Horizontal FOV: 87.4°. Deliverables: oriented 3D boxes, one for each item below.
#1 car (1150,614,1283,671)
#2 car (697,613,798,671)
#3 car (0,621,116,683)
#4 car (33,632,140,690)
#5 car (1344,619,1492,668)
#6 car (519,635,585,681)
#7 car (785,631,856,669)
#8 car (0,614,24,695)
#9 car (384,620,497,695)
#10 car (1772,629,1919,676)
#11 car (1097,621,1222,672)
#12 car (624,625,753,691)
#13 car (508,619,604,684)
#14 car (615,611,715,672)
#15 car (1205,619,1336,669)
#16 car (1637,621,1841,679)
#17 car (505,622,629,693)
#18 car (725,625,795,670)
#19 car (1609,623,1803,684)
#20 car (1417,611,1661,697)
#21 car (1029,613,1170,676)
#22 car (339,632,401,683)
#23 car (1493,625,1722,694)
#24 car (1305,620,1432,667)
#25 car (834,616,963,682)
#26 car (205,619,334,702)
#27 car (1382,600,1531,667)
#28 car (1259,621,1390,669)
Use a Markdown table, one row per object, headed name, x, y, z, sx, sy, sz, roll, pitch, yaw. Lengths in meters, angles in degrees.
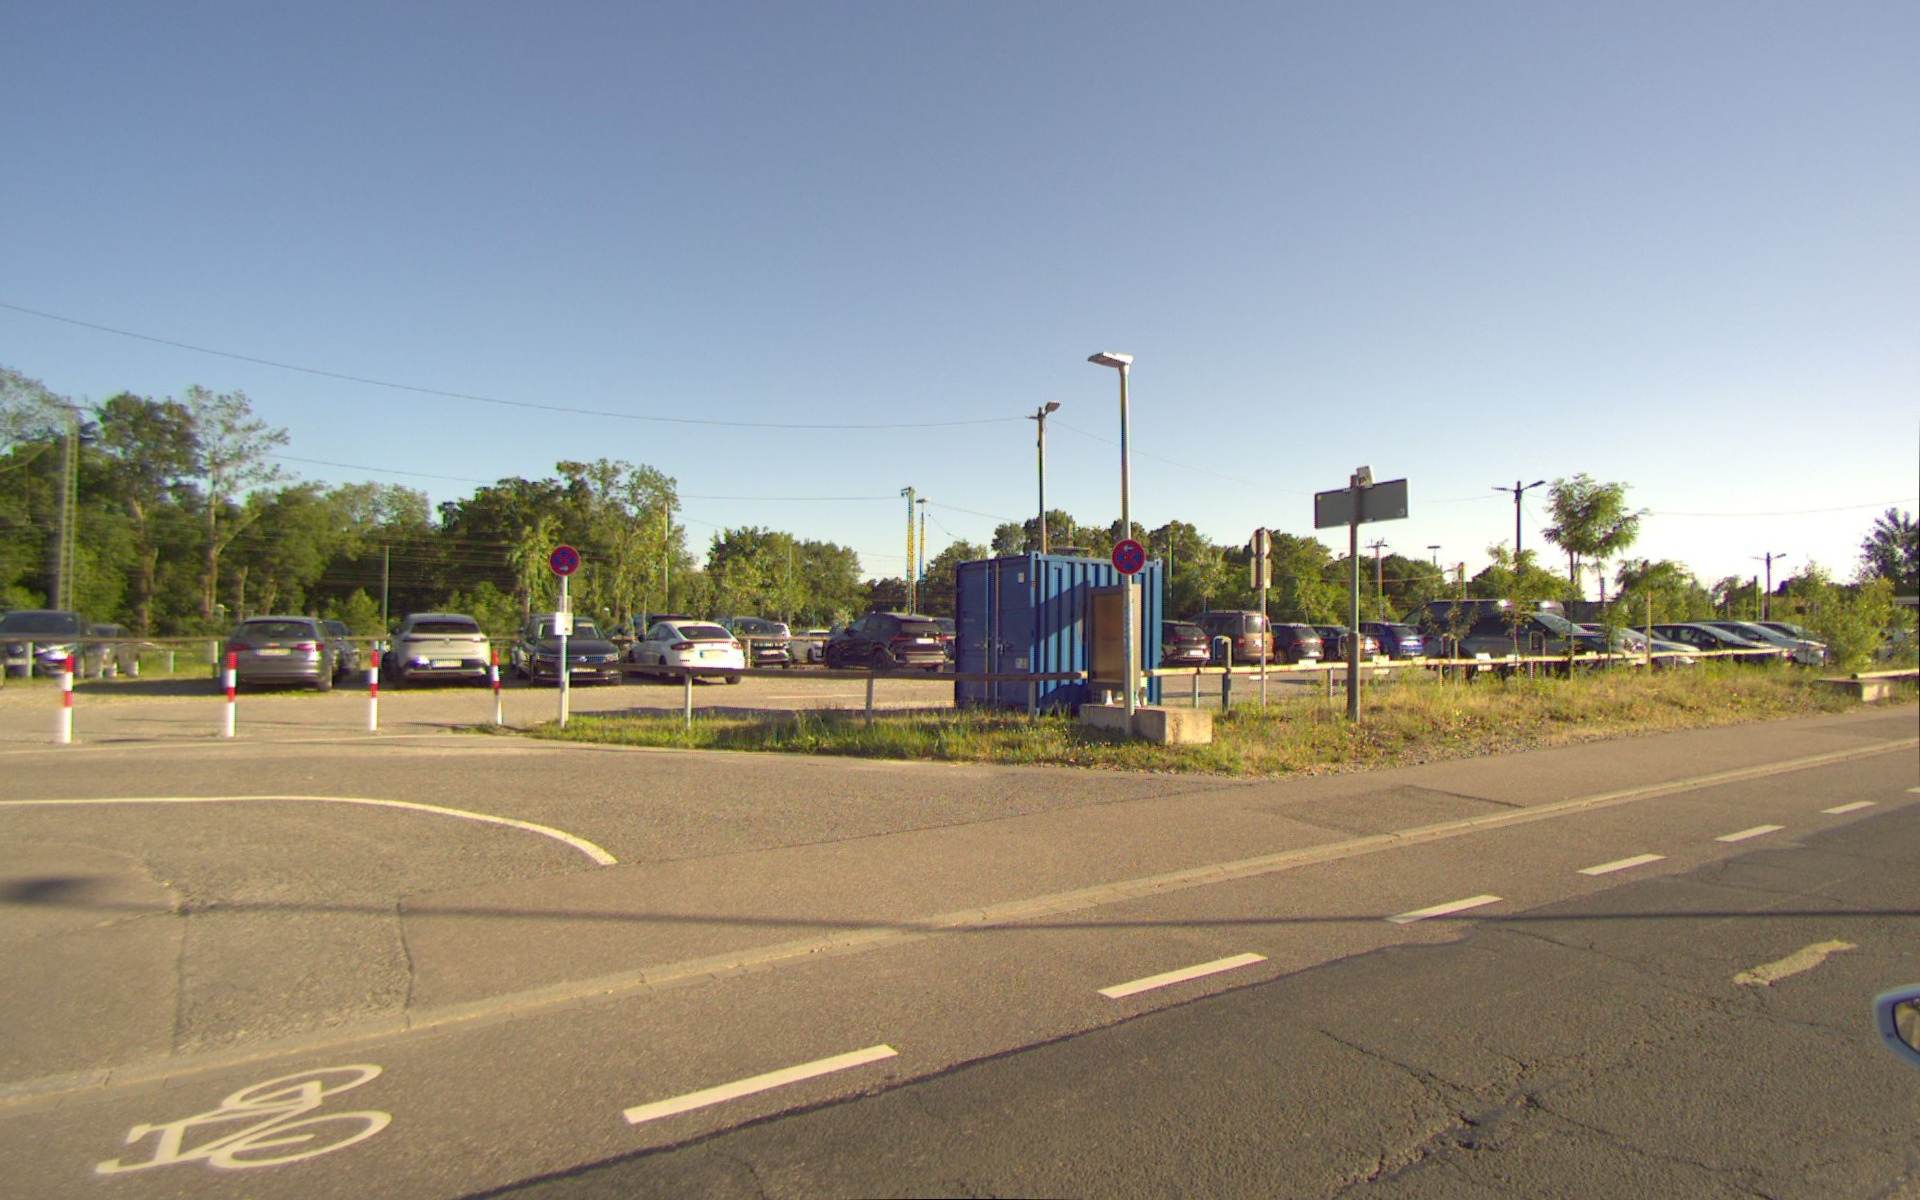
| name | x | y | z | sx | sy | sz | roll | pitch | yaw |
| --- | --- | --- | --- | --- | --- | --- | --- | --- | --- |
| car | 8.607 | 1.387 | 34.032 | 1.857 | 1.815 | 4.299 | 1 | -1 | -32 |
| car | -6.436 | 1.208 | 30.202 | 1.787 | 1.625 | 3.862 | 1 | -1 | -32 |
| car | -19.774 | 1.063 | 21.613 | 1.857 | 1.203 | 3.863 | 1 | -1 | -31 |
| car | -26.067 | 1.760 | 30.108 | 1.734 | 1.574 | 3.814 | 1 | -1 | -31 |
| car | 17.615 | 1.627 | 38.896 | 2.143 | 1.727 | 4.900 | 1 | -1 | -32 |
| car | -15.125 | 2.097 | 37.124 | 1.734 | 1.574 | 3.703 | 1 | -1 | -31 |
| car | -6.061 | 2.105 | 43.392 | 1.734 | 1.514 | 3.703 | 1 | -1 | -31 |
| car | -17.924 | 0.971 | 17.184 | 1.856 | 1.482 | 4.301 | 1 | -1 | -30 |
| car | -11.315 | 1.166 | 21.730 | 1.857 | 1.438 | 4.299 | 1 | -1 | -32 |
| car | 32.540 | 1.864 | 36.490 | 1.857 | 1.578 | 4.402 | 1 | -1 | -32 |
| car | 6.414 | 1.466 | 32.623 | 1.857 | 1.540 | 3.862 | 1 | -1 | -32 |
| car | -6.575 | 1.317 | 24.005 | 1.857 | 1.394 | 4.299 | 1 | -1 | -32 |
| car | -11.083 | 1.347 | 27.388 | 1.857 | 1.625 | 3.863 | 1 | -1 | -31 |
| car | -8.536 | 1.135 | 28.891 | 1.857 | 1.625 | 3.863 | 1 | -1 | -31 |
| car | 10.880 | 1.491 | 35.494 | 1.857 | 1.639 | 4.299 | 1 | -1 | -32 |
| car | 23.282 | 1.435 | 30.223 | 1.857 | 1.578 | 4.518 | 1 | -1 | -32 |
| car | -8.870 | 1.209 | 22.460 | 1.857 | 1.394 | 4.299 | 1 | -1 | -32 |
| car | -8.389 | 1.942 | 42.022 | 1.734 | 1.794 | 3.703 | 1 | -1 | -31 |
| car | 21.061 | 1.459 | 28.528 | 1.857 | 1.578 | 4.066 | 1 | -1 | -32 |
| car | 13.872 | 1.214 | 24.384 | 1.978 | 1.859 | 4.819 | 1 | -1 | -32 |
| car | 4.127 | 1.282 | 30.541 | 2.032 | 1.764 | 4.563 | 1 | -1 | -27 |
| car | -20.176 | 1.911 | 34.374 | 1.734 | 1.574 | 3.703 | 1 | -1 | -31 |
| car | 16.455 | 1.444 | 25.794 | 1.978 | 1.578 | 4.570 | 1 | -1 | -32 |
| car | 15.373 | 1.602 | 38.003 | 1.857 | 1.639 | 4.185 | 1 | -1 | -32 |
| car | -1.712 | 1.243 | 26.823 | 1.857 | 1.625 | 3.862 | 1 | -1 | -32 |
| car | -13.546 | 1.111 | 19.918 | 1.857 | 1.438 | 4.299 | 1 | -1 | -32 |
| car | 19.756 | 1.310 | 40.205 | 2.294 | 2.492 | 4.900 | 1 | -1 | -32 |
| car | 13.171 | 1.583 | 36.526 | 1.857 | 1.639 | 4.299 | 1 | -1 | -32 |
